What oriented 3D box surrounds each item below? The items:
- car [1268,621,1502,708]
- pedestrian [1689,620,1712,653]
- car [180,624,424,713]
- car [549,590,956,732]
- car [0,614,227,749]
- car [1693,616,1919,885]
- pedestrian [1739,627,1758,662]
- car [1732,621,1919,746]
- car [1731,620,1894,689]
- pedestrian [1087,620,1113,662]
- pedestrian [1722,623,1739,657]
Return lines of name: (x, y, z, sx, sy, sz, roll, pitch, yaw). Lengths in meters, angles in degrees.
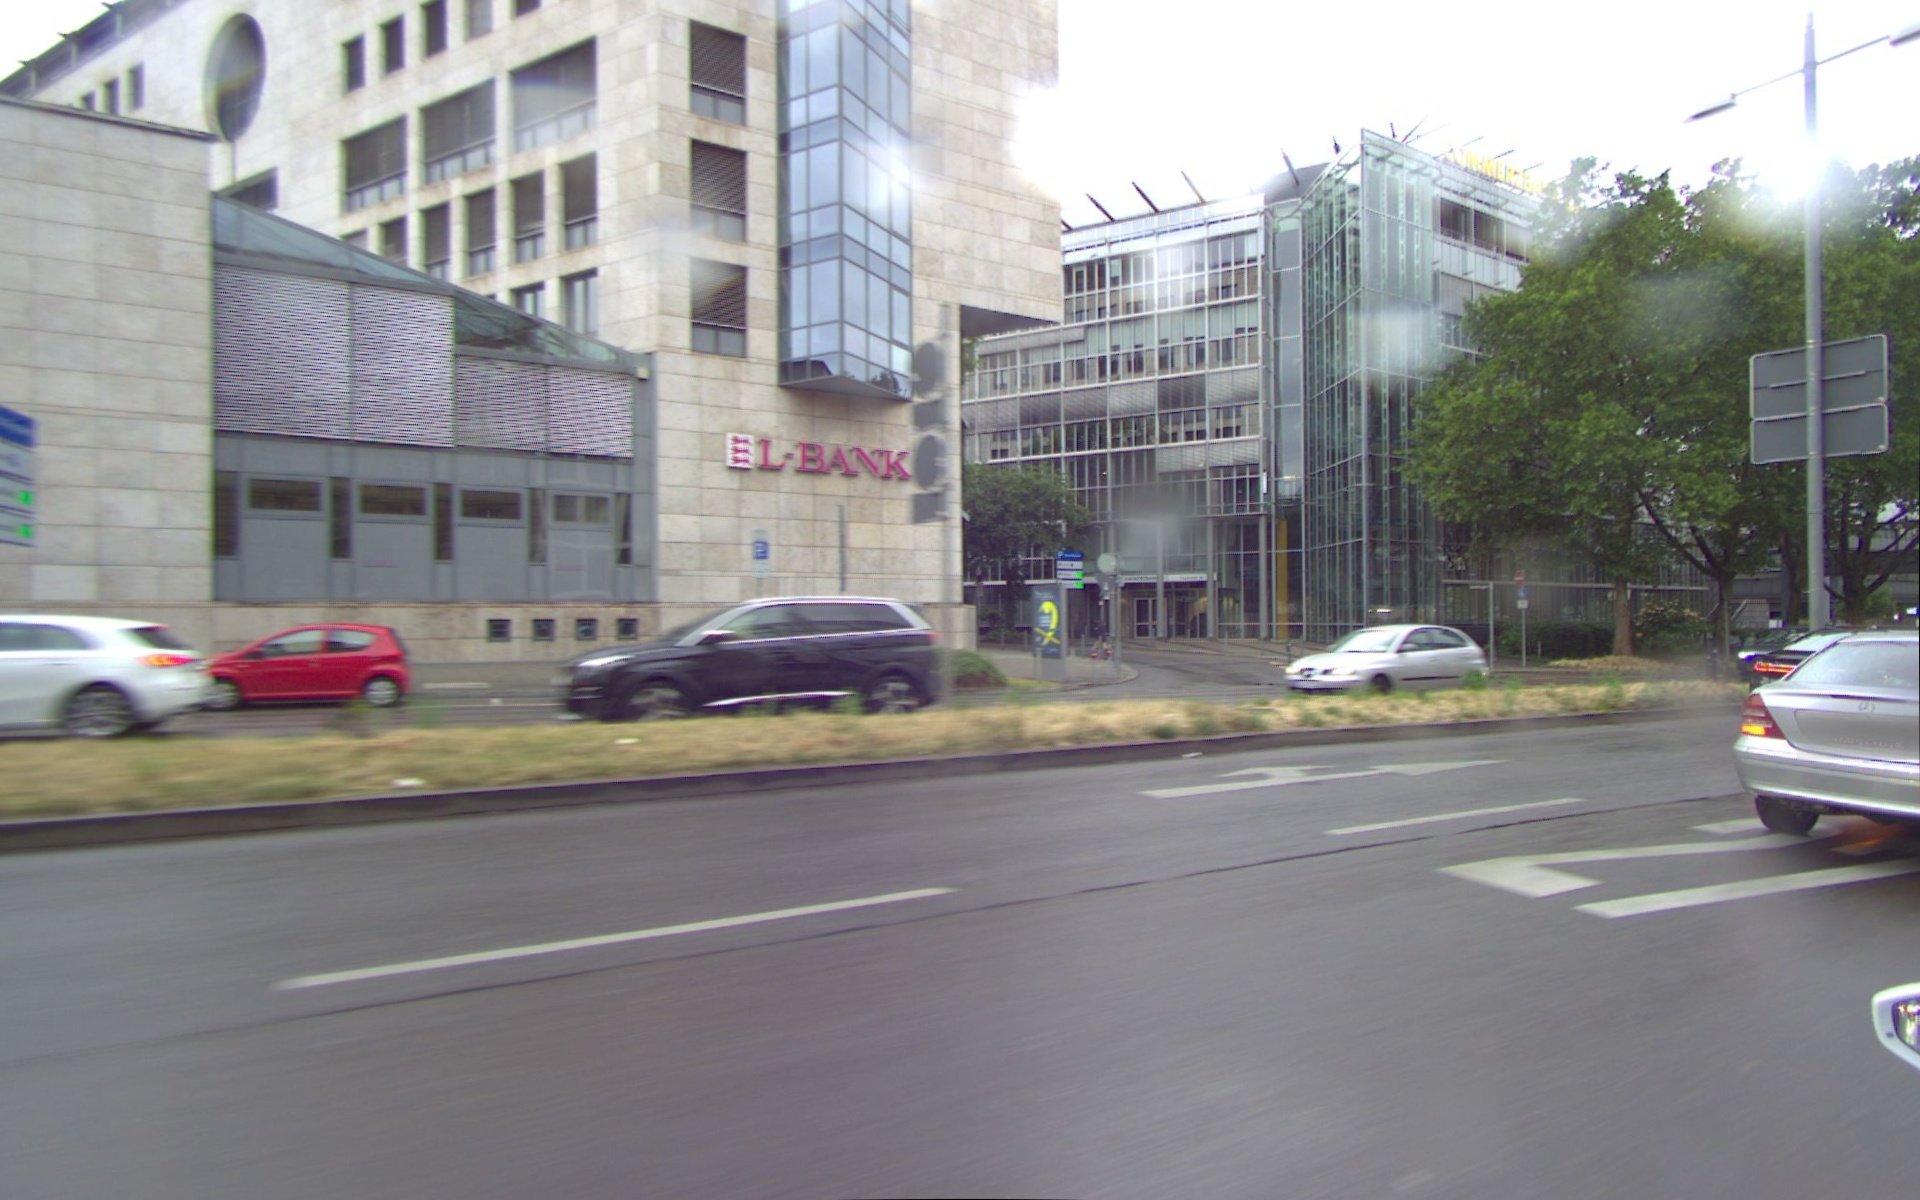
car: (7.476, 1.095, 17.597, 4.065, 1.378, 1.591, 2, -2, -28)
pedestrian: (40.956, 2.004, 55.558, 0.793, 1.832, 0.731, 0, 0, -29)
car: (-11.476, 1.180, 17.788, 3.355, 1.434, 1.588, 2, -2, -25)
car: (-2.444, 0.706, 12.151, 4.525, 1.456, 1.693, 2, -2, -28)
car: (-11.137, 0.879, 11.334, 4.338, 1.451, 1.721, 2, -2, -27)
car: (7.143, 0.937, 7.024, 4.309, 1.498, 1.664, 2, -1, -30)
pedestrian: (42.952, 2.414, 54.703, 0.750, 1.832, 0.593, 0, 0, -29)
car: (12.990, 1.063, 14.178, 4.826, 1.498, 1.861, 1, -2, -33)
car: (22.655, 1.419, 26.669, 4.625, 1.702, 1.865, 2, -2, -30)
pedestrian: (5.431, 1.565, 39.024, 0.658, 1.591, 0.818, 0, 0, 39)
pedestrian: (42.552, 2.195, 55.455, 0.505, 1.832, 0.603, 0, 0, -29)
